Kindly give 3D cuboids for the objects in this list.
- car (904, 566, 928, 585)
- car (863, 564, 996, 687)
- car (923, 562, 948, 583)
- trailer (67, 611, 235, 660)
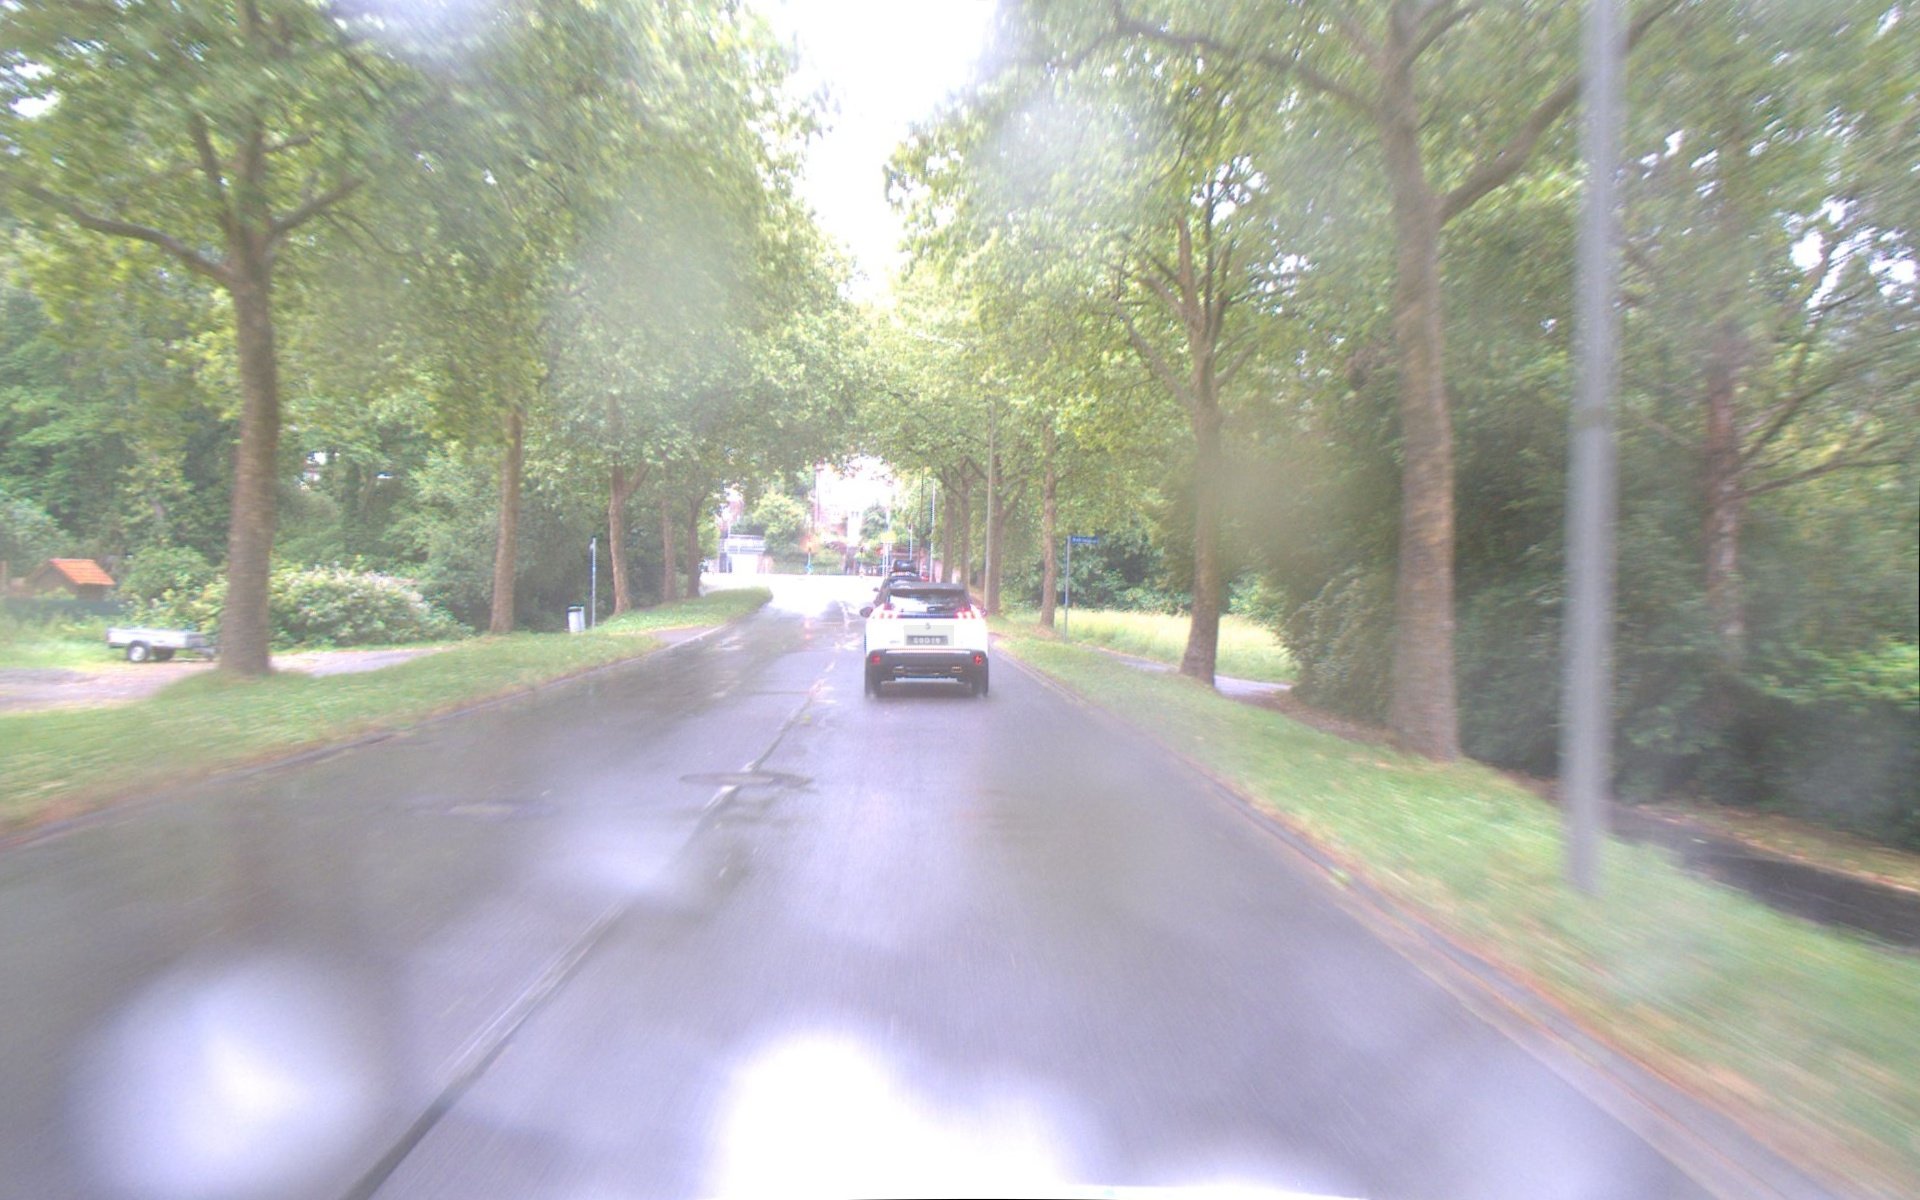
[{"bbox_3d":[-3.805,-2.127,143.306,1.789,1.624,3.654,2,0,1],"label":"car"},{"bbox_3d":[-0.414,0.311,24.210,1.757,1.606,3.844,1,1,0],"label":"car"},{"bbox_3d":[-1.963,-2.225,133.710,1.789,1.624,3.654,2,0,1],"label":"car"},{"bbox_3d":[-20.851,0.905,42.729,3.486,1.199,1.819,0,1,-8],"label":"trailer"}]
